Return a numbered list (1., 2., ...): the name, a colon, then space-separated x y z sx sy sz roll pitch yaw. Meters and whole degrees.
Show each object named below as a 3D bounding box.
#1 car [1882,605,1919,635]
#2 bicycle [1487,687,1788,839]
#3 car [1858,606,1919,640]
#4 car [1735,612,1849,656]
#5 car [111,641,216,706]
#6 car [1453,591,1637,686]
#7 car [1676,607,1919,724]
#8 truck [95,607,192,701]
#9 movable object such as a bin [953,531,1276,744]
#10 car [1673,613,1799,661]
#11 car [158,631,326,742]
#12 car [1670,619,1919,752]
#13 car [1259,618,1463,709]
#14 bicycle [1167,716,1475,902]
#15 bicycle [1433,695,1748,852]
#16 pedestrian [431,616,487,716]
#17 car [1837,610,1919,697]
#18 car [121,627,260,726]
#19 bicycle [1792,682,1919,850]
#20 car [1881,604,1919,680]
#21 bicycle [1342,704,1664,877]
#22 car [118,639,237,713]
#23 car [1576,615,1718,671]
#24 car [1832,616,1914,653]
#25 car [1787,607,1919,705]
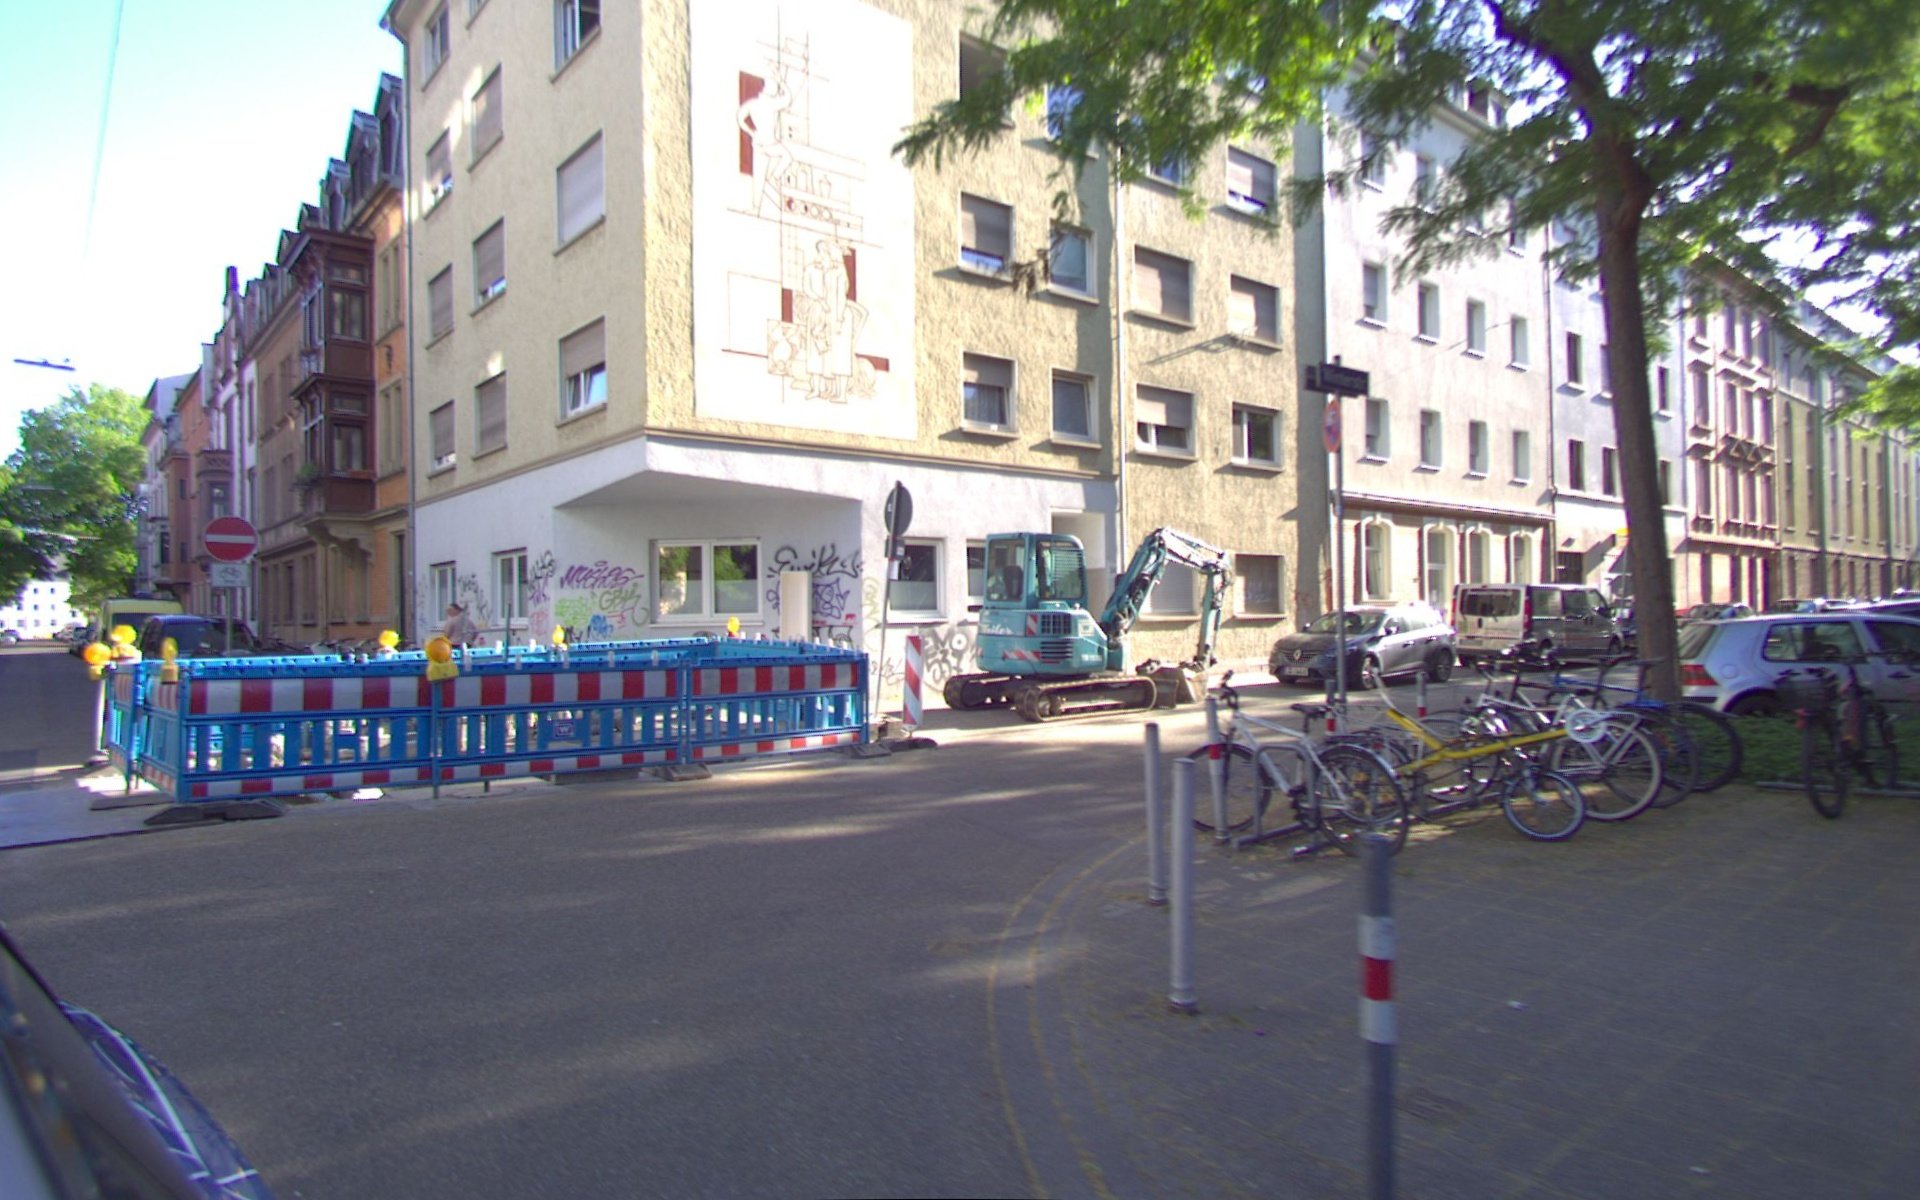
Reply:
1. car: 44.509 0.910 46.784 4.275 1.350 2.005 0 0 -36
2. bicycle: 4.916 1.141 7.486 0.484 0.933 1.762 -1 -3 -31
3. car: 39.969 0.933 42.896 4.275 1.350 2.005 0 0 -36
4. car: 28.613 1.115 34.775 4.275 1.350 2.005 0 0 -36
5. car: -21.928 1.959 27.809 1.970 1.604 4.004 0 -2 -43
6. car: 13.722 0.809 23.665 4.689 2.021 2.005 0 0 -36
7. car: 11.742 0.772 12.614 4.207 1.327 1.891 -1 0 21
8. truck: -25.637 1.656 31.680 1.943 2.679 5.891 2 -3 -42
9. movable object such as a bin: 2.493 0.455 15.498 5.073 2.768 2.004 -1 1 -39
10. car: 24.365 1.120 31.728 4.275 1.350 2.005 0 0 -36
11. car: -12.921 1.464 18.120 4.001 1.718 1.752 -3 -2 44
12. car: 9.722 0.834 10.352 3.717 1.232 1.582 -1 0 21
13. car: 7.597 1.109 19.064 3.935 1.452 1.818 0 0 -37
14. bicycle: 2.192 1.237 6.359 0.485 0.933 1.759 -1 -3 -42
15. bicycle: 4.355 1.155 7.115 0.485 0.933 1.759 -1 -3 -42
16. pedestrian: -8.353 1.085 16.872 0.598 1.607 0.661 -3 -2 44
17. car: 16.751 0.824 15.994 3.959 1.327 1.760 -1 0 21
18. car: -16.398 1.557 21.504 4.001 1.866 1.780 -3 -2 44
19. bicycle: 6.041 1.056 6.708 1.401 0.933 0.313 -1 -3 -32
20. car: 19.079 0.732 17.704 3.959 1.327 1.760 -1 0 21
21. bicycle: 3.492 1.183 6.661 0.485 0.933 1.759 -1 -3 -42
22. car: -19.155 1.789 24.711 1.970 1.604 4.004 0 -2 -43
23. car: 18.876 1.121 27.750 4.275 1.350 1.904 0 0 -36
24. car: 35.986 1.330 39.858 3.659 1.350 1.700 0 0 -36
25. car: 14.521 0.763 14.327 3.959 1.327 1.760 -1 0 21
